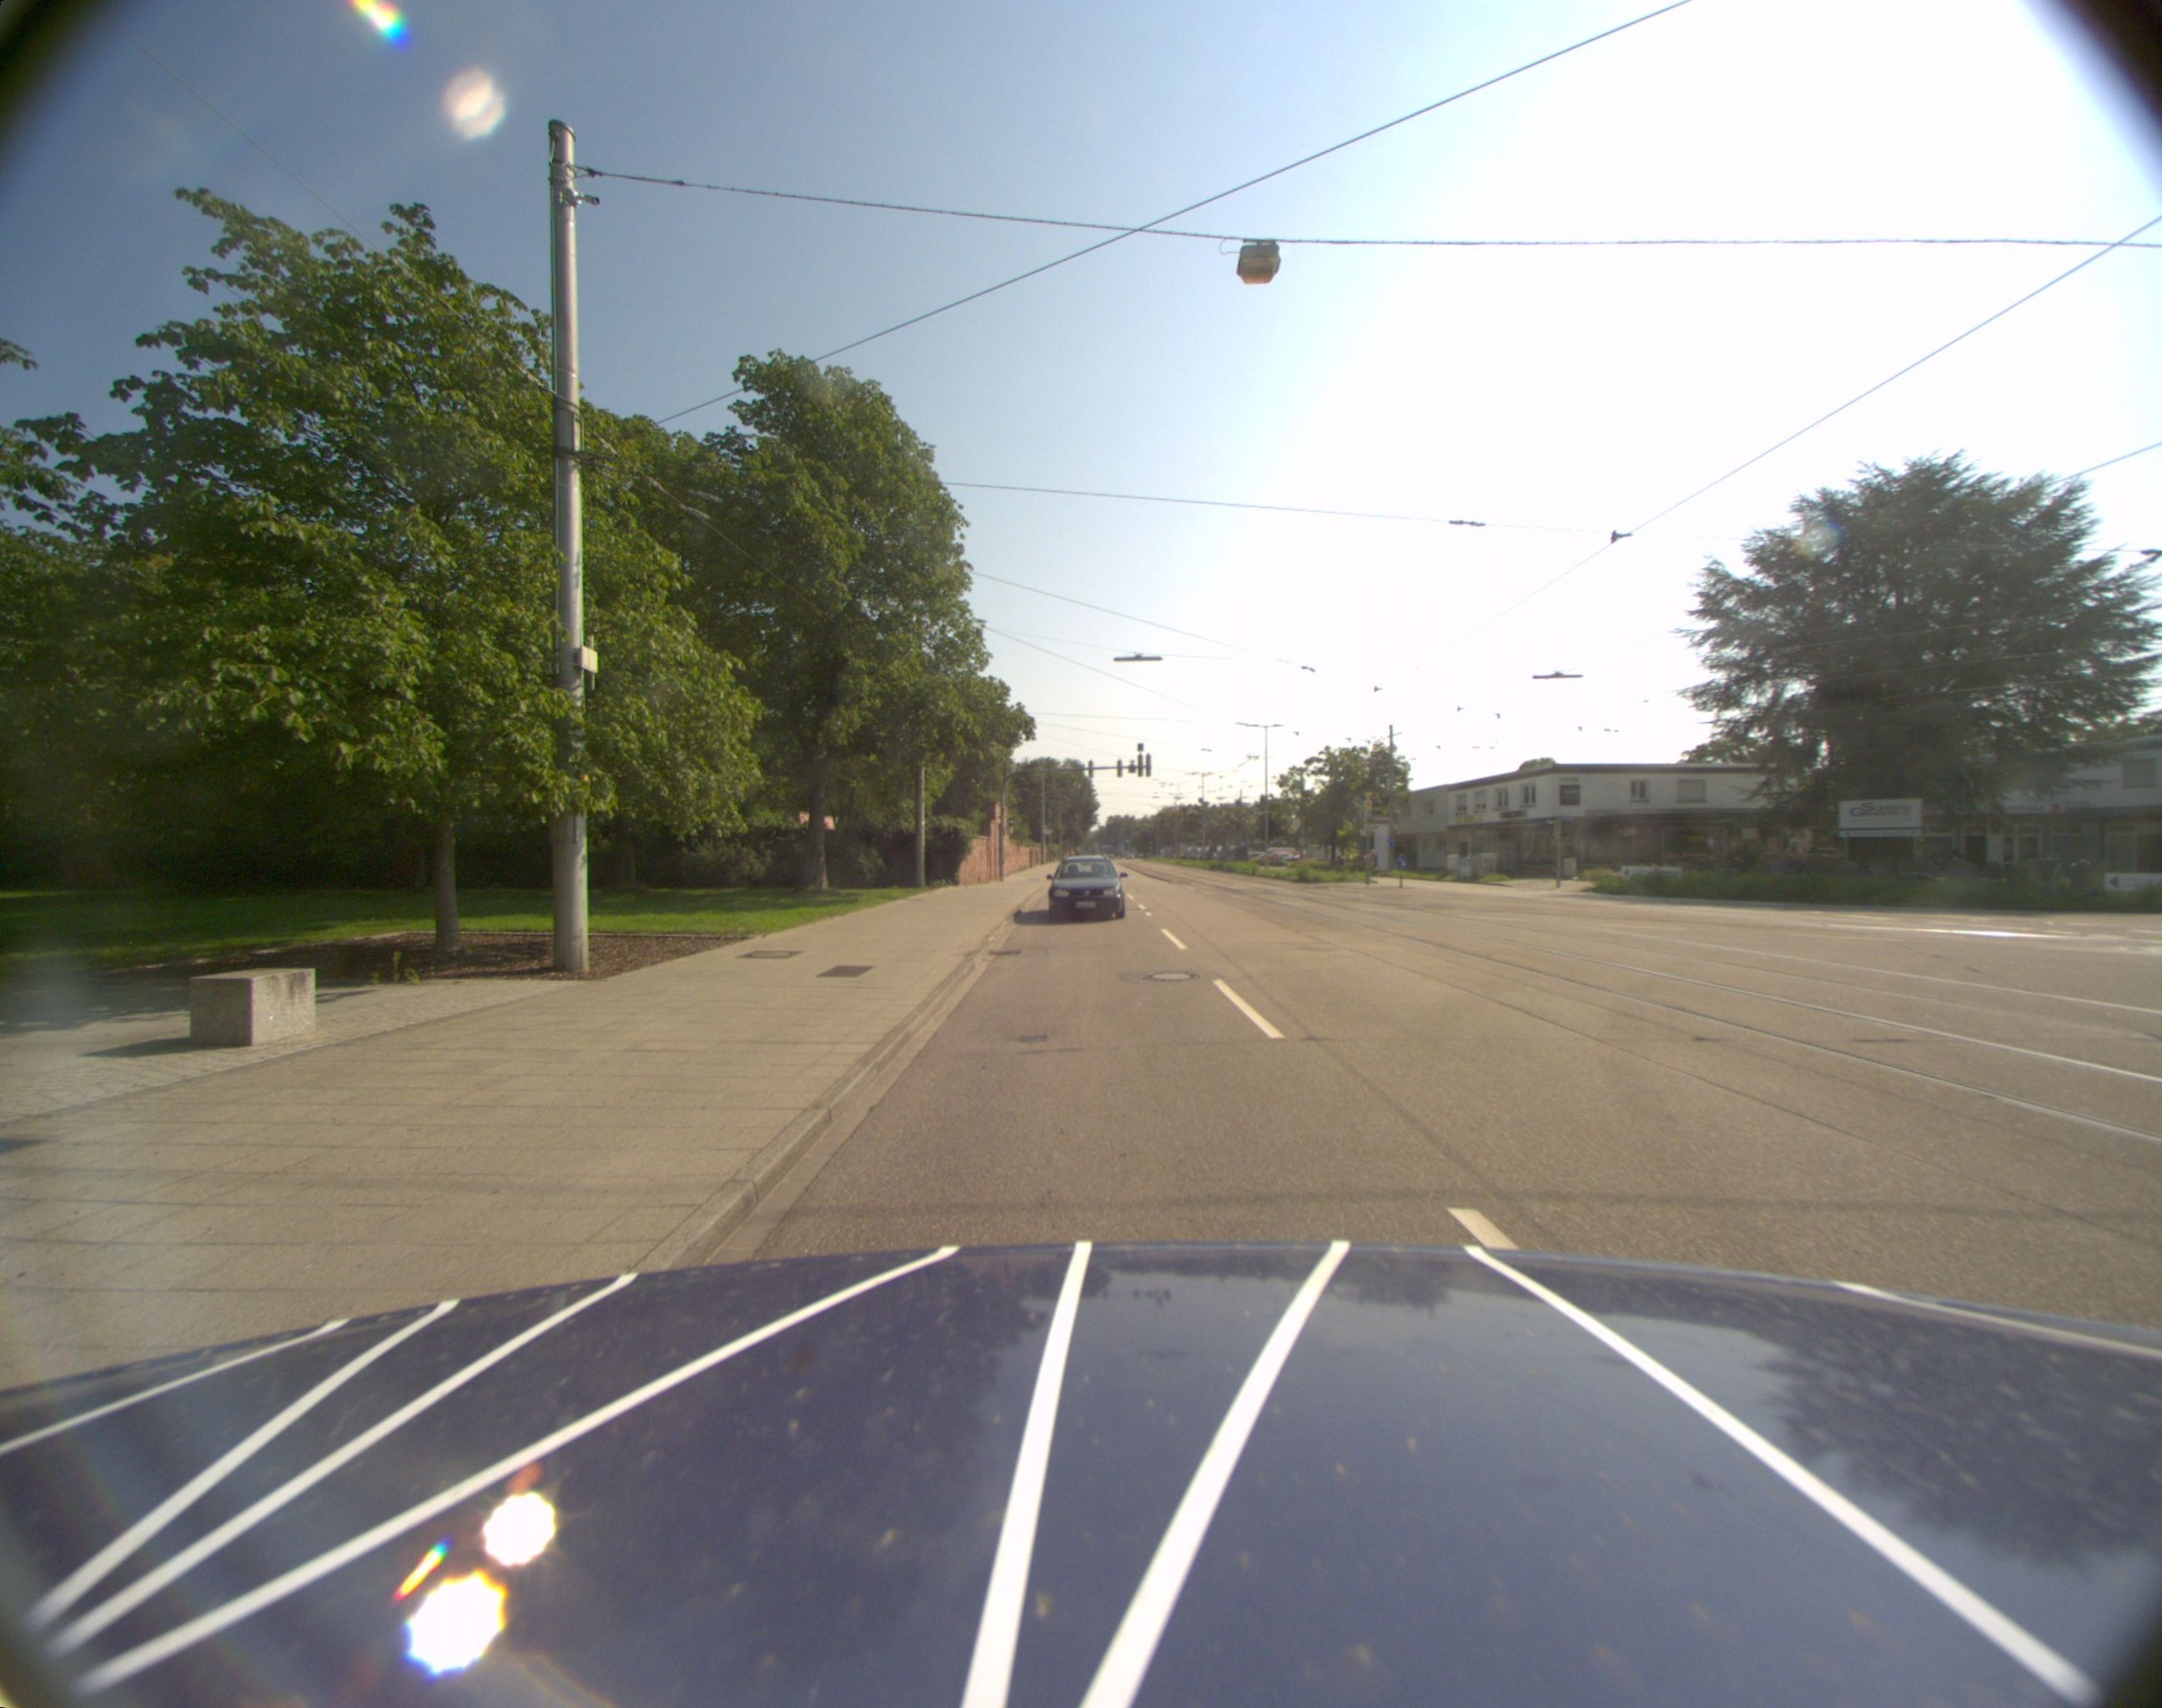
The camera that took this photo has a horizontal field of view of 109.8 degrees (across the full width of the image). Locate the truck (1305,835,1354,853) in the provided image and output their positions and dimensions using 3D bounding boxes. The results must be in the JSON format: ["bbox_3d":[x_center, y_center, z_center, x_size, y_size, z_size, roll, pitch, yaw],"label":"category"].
[{"bbox_3d":[32.047,-1.267,97.920,5.503,2.160,2.259,2,1,0],"label":"truck"}]

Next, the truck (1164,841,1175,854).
[{"bbox_3d":[23.349,-1.746,201.091,2.278,3.104,8.788,2,1,4],"label":"truck"}]

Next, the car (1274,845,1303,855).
[{"bbox_3d":[32.429,-0.599,118.732,3.933,1.441,1.633,2,1,0],"label":"car"}]

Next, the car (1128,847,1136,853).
[{"bbox_3d":[12.007,-1.014,179.886,1.726,1.317,3.999,2,1,1],"label":"car"}]

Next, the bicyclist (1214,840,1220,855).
[{"bbox_3d":[19.252,-0.900,107.748,0.639,2.052,0.774,1,1,-5],"label":"bicyclist"}]

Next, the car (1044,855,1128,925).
[{"bbox_3d":[0.191,0.788,18.420,1.776,1.416,3.935,-2,1,2],"label":"car"}]

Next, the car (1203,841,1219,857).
[{"bbox_3d":[21.489,-0.836,125.672,1.826,2.571,5.910,-1,0,2],"label":"car"}]

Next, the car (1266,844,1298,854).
[{"bbox_3d":[32.757,-0.769,123.971,4.665,1.441,1.633,2,1,0],"label":"car"}]

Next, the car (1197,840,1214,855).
[{"bbox_3d":[21.859,-1.150,133.791,2.137,2.571,5.630,2,1,2],"label":"car"}]

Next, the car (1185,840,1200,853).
[{"bbox_3d":[21.801,-1.450,148.283,2.148,2.444,4.831,2,1,0],"label":"car"}]

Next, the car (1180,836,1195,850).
[{"bbox_3d":[22.075,-2.344,158.000,2.129,2.789,7.231,2,1,2],"label":"car"}]

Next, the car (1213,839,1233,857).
[{"bbox_3d":[21.123,-0.906,113.229,1.993,2.571,6.467,-1,1,3],"label":"car"}]

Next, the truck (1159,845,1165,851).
[{"bbox_3d":[24.635,-1.816,231.548,1.691,1.665,3.655,2,1,2],"label":"truck"}]

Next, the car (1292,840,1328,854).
[{"bbox_3d":[31.881,-0.967,105.743,4.409,1.774,1.633,2,1,0],"label":"car"}]

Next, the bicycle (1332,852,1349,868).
[{"bbox_3d":[20.103,0.486,58.866,0.576,1.172,2.208,2,-1,1],"label":"bicycle"}]

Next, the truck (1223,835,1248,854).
[{"bbox_3d":[20.979,-1.290,103.355,2.086,2.533,5.738,2,1,0],"label":"truck"}]

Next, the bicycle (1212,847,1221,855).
[{"bbox_3d":[19.227,-0.434,107.913,0.717,1.085,2.264,2,1,-5],"label":"bicycle"}]

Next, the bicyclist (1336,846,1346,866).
[{"bbox_3d":[20.107,0.150,58.859,0.569,1.514,0.490,2,1,2],"label":"bicyclist"}]

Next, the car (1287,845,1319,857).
[{"bbox_3d":[31.623,-0.430,108.327,3.933,1.510,1.633,2,1,0],"label":"car"}]

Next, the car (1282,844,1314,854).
[{"bbox_3d":[32.243,-0.739,112.828,4.169,1.455,1.623,1,1,-5],"label":"car"}]

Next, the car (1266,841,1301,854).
[{"bbox_3d":[33.837,-1.103,127.128,5.198,1.914,2.052,2,1,0],"label":"car"}]
